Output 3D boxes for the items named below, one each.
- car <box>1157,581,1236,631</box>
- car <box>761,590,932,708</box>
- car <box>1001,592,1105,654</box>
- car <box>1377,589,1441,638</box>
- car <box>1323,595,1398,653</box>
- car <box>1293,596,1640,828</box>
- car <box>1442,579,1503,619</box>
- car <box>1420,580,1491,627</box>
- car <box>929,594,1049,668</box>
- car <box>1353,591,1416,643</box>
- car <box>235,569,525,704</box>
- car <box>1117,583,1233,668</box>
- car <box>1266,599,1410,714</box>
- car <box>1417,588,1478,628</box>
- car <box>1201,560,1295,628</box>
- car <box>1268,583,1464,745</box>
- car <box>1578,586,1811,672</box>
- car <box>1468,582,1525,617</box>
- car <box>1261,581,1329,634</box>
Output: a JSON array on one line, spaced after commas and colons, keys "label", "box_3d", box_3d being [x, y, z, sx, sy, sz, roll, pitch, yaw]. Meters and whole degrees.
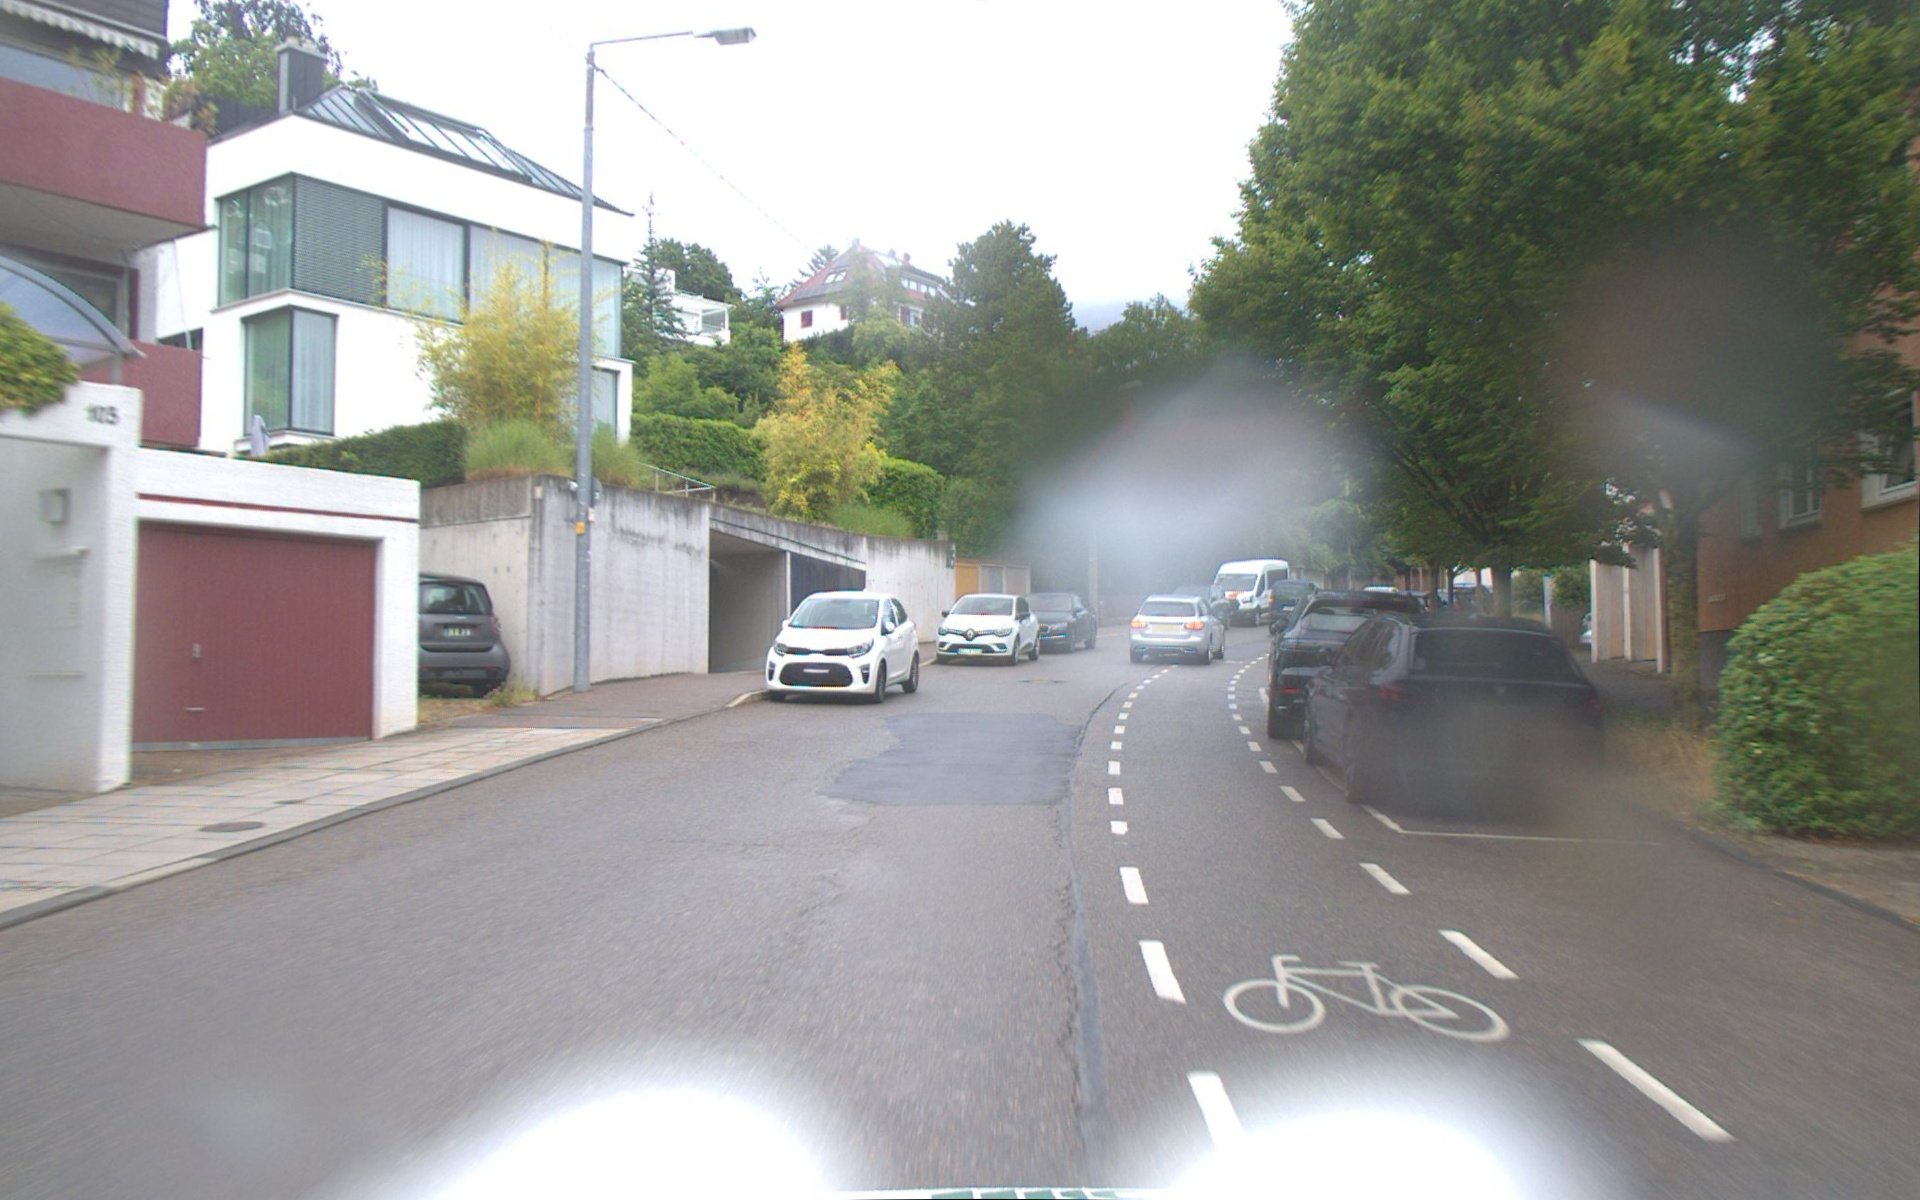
[{"label": "car", "box_3d": [8.511, 0.174, 59.272, 1.857, 1.721, 4.546, 0, 0, 21]}, {"label": "car", "box_3d": [-1.549, 0.631, 23.859, 1.592, 1.542, 3.836, 0, 1, 10]}, {"label": "car", "box_3d": [2.435, 0.542, 42.097, 1.676, 1.485, 4.686, 0, 0, 16]}, {"label": "car", "box_3d": [15.365, 0.419, 56.460, 1.620, 1.546, 4.000, 2, 1, 22]}, {"label": "car", "box_3d": [11.356, 0.643, 46.754, 1.634, 1.496, 3.711, 2, 1, 19]}, {"label": "car", "box_3d": [4.099, 0.789, 14.236, 1.815, 1.608, 4.860, 1, 0, 4]}, {"label": "car", "box_3d": [22.167, -0.066, 71.462, 1.682, 1.583, 4.157, 3, 2, 29]}, {"label": "car", "box_3d": [18.170, 0.095, 60.520, 1.741, 1.580, 4.725, 2, 2, 25]}, {"label": "car", "box_3d": [0.694, 0.622, 35.588, 1.793, 1.465, 4.043, 0, 0, 13]}, {"label": "car", "box_3d": [13.578, 0.514, 52.806, 1.593, 1.590, 3.022, 1, 1, 21]}, {"label": "car", "box_3d": [-7.631, 0.416, 21.628, 3.856, 1.504, 1.760, 3, 1, 38]}, {"label": "car", "box_3d": [4.869, 0.525, 36.973, 1.982, 1.738, 4.218, 1, 0, 16]}, {"label": "car", "box_3d": [5.785, 0.789, 25.825, 1.822, 1.494, 5.060, 3, 1, 9]}, {"label": "car", "box_3d": [19.734, 0.297, 66.845, 1.611, 1.448, 4.283, 2, 2, 27]}, {"label": "car", "box_3d": [11.590, -0.294, 66.202, 2.053, 2.594, 6.091, 0, 1, 27]}, {"label": "car", "box_3d": [4.832, 0.648, 20.092, 2.010, 1.685, 5.240, 1, 0, 12]}, {"label": "car", "box_3d": [15.086, 0.596, 34.241, 4.214, 1.491, 1.935, 3, -1, 20]}, {"label": "car", "box_3d": [24.802, -0.041, 76.385, 1.618, 1.507, 4.011, 1, 2, 31]}, {"label": "car", "box_3d": [11.560, 0.232, 56.855, 1.951, 1.738, 4.003, 1, 0, 16]}]
